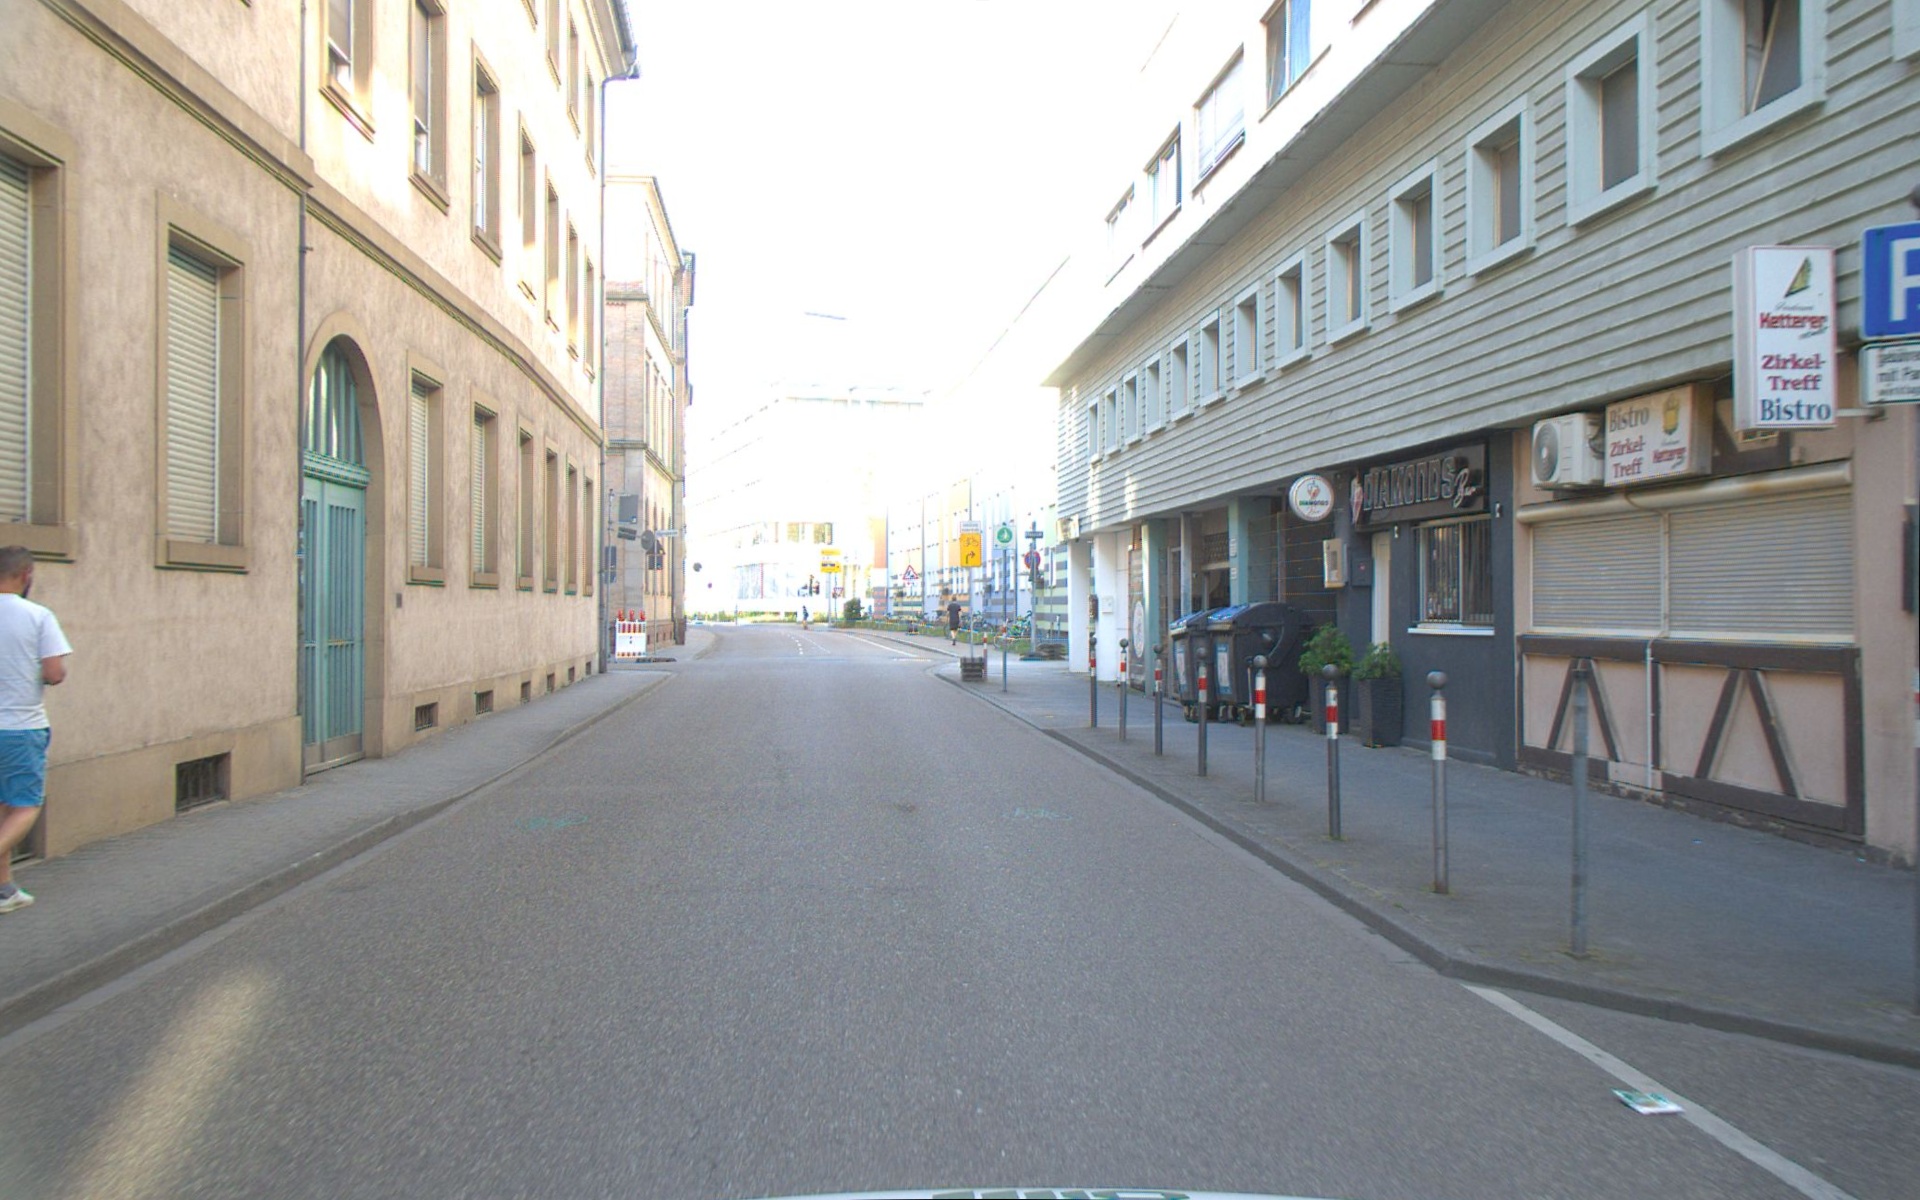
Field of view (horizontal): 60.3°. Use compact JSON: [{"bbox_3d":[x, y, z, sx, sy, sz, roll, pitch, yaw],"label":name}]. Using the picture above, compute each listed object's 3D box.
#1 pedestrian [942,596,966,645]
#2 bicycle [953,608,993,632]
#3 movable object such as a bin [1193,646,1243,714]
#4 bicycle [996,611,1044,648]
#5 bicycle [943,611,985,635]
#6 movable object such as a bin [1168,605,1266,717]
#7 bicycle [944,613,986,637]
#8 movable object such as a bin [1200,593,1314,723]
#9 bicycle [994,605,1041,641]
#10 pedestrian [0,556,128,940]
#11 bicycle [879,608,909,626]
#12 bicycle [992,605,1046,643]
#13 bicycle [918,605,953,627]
[{"bbox_3d":[-0.216,0.755,61.275,0.683,1.790,1.187,-3,0,-7],"label":"pedestrian"},{"bbox_3d":[0.557,0.864,71.831,1.715,0.963,0.325,-1,-1,-7],"label":"bicycle"},{"bbox_3d":[3.576,1.108,22.948,0.546,0.915,0.522,-2,-2,-5],"label":"movable object such as a bin"},{"bbox_3d":[2.096,1.032,57.626,1.614,1.161,0.282,-4,1,-16],"label":"bicycle"},{"bbox_3d":[0.168,0.973,70.731,1.715,0.963,0.551,-1,-1,-8],"label":"bicycle"},{"bbox_3d":[3.382,0.807,21.893,0.962,1.409,1.319,-2,-2,-5],"label":"movable object such as a bin"},{"bbox_3d":[0.226,1.073,70.070,1.715,0.963,0.551,-1,-1,-8],"label":"bicycle"},{"bbox_3d":[3.639,0.719,20.412,0.962,1.506,1.549,-2,-2,-5],"label":"movable object such as a bin"},{"bbox_3d":[2.021,0.805,57.894,1.576,1.161,0.236,-4,1,-16],"label":"bicycle"},{"bbox_3d":[-4.472,0.649,7.748,0.679,1.699,0.874,2,-1,-3],"label":"pedestrian"},{"bbox_3d":[-3.988,1.055,100.593,1.723,1.021,0.611,-2,-1,-13],"label":"bicycle"},{"bbox_3d":[2.006,0.815,56.231,1.716,1.161,0.551,-3,1,-8],"label":"bicycle"},{"bbox_3d":[-1.278,0.829,86.548,1.777,1.157,0.551,-1,-1,-9],"label":"bicycle"}]
